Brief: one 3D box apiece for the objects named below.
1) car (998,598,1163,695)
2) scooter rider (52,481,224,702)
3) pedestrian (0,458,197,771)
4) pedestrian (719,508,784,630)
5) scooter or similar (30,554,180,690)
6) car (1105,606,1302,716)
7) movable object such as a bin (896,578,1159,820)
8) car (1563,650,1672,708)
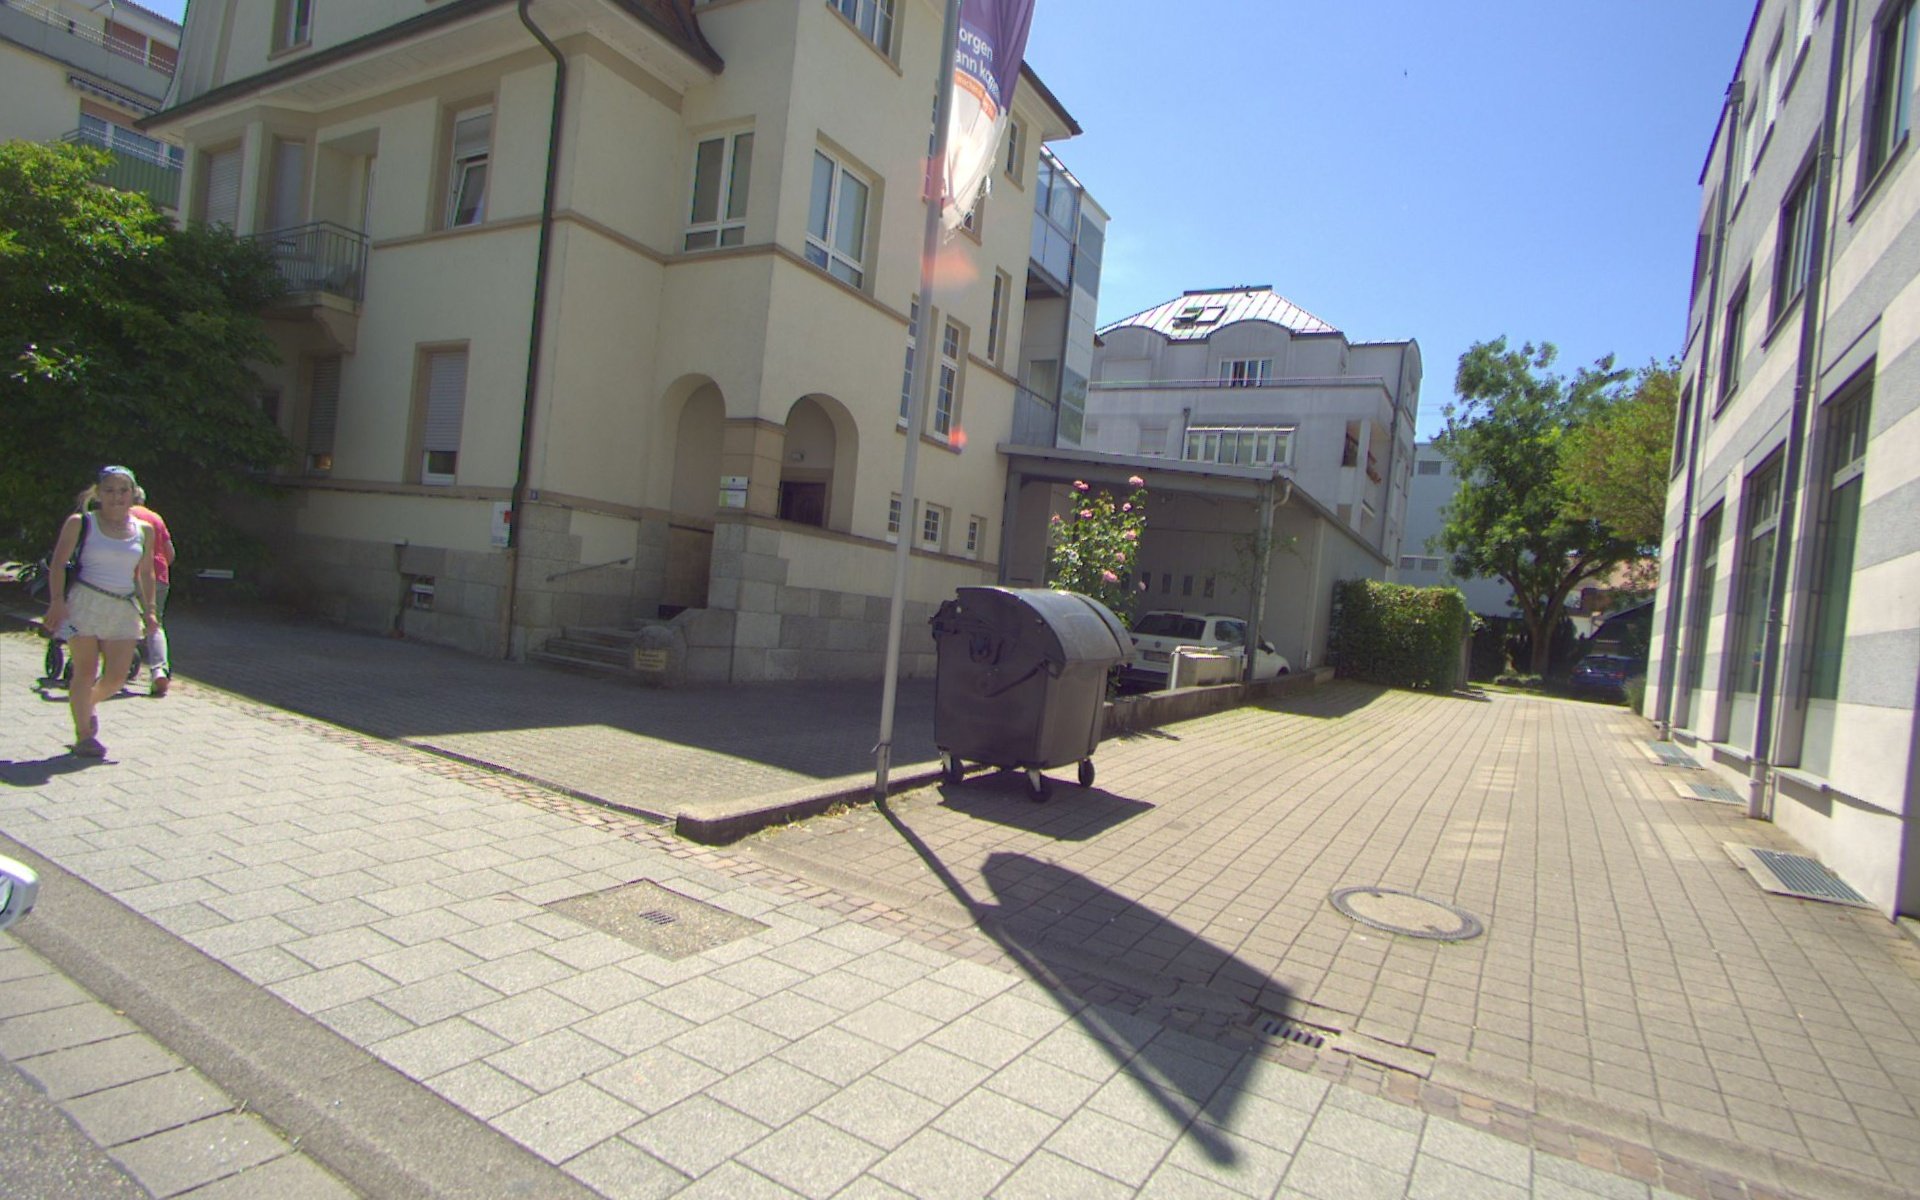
[{"bbox_3d":[2.420,0.932,19.438,1.723,1.510,3.738,7,0,30],"label":"car"},{"bbox_3d":[-6.312,-0.062,7.738,0.757,1.569,0.716,7,2,29],"label":"scooter rider"},{"bbox_3d":[-5.030,0.059,5.810,0.770,1.649,0.700,6,3,30],"label":"pedestrian"},{"bbox_3d":[-3.058,-0.447,14.721,0.588,1.679,0.734,6,1,-28],"label":"pedestrian"},{"bbox_3d":[-6.840,0.171,8.053,0.741,0.975,0.664,7,2,31],"label":"scooter or similar"},{"bbox_3d":[4.512,1.112,18.261,1.785,1.628,3.981,7,1,40],"label":"car"},{"bbox_3d":[0.522,0.649,7.465,1.358,1.479,1.367,6,3,32],"label":"movable object such as a bin"},{"bbox_3d":[22.620,2.735,34.560,4.001,1.589,1.784,7,0,-37],"label":"car"}]
